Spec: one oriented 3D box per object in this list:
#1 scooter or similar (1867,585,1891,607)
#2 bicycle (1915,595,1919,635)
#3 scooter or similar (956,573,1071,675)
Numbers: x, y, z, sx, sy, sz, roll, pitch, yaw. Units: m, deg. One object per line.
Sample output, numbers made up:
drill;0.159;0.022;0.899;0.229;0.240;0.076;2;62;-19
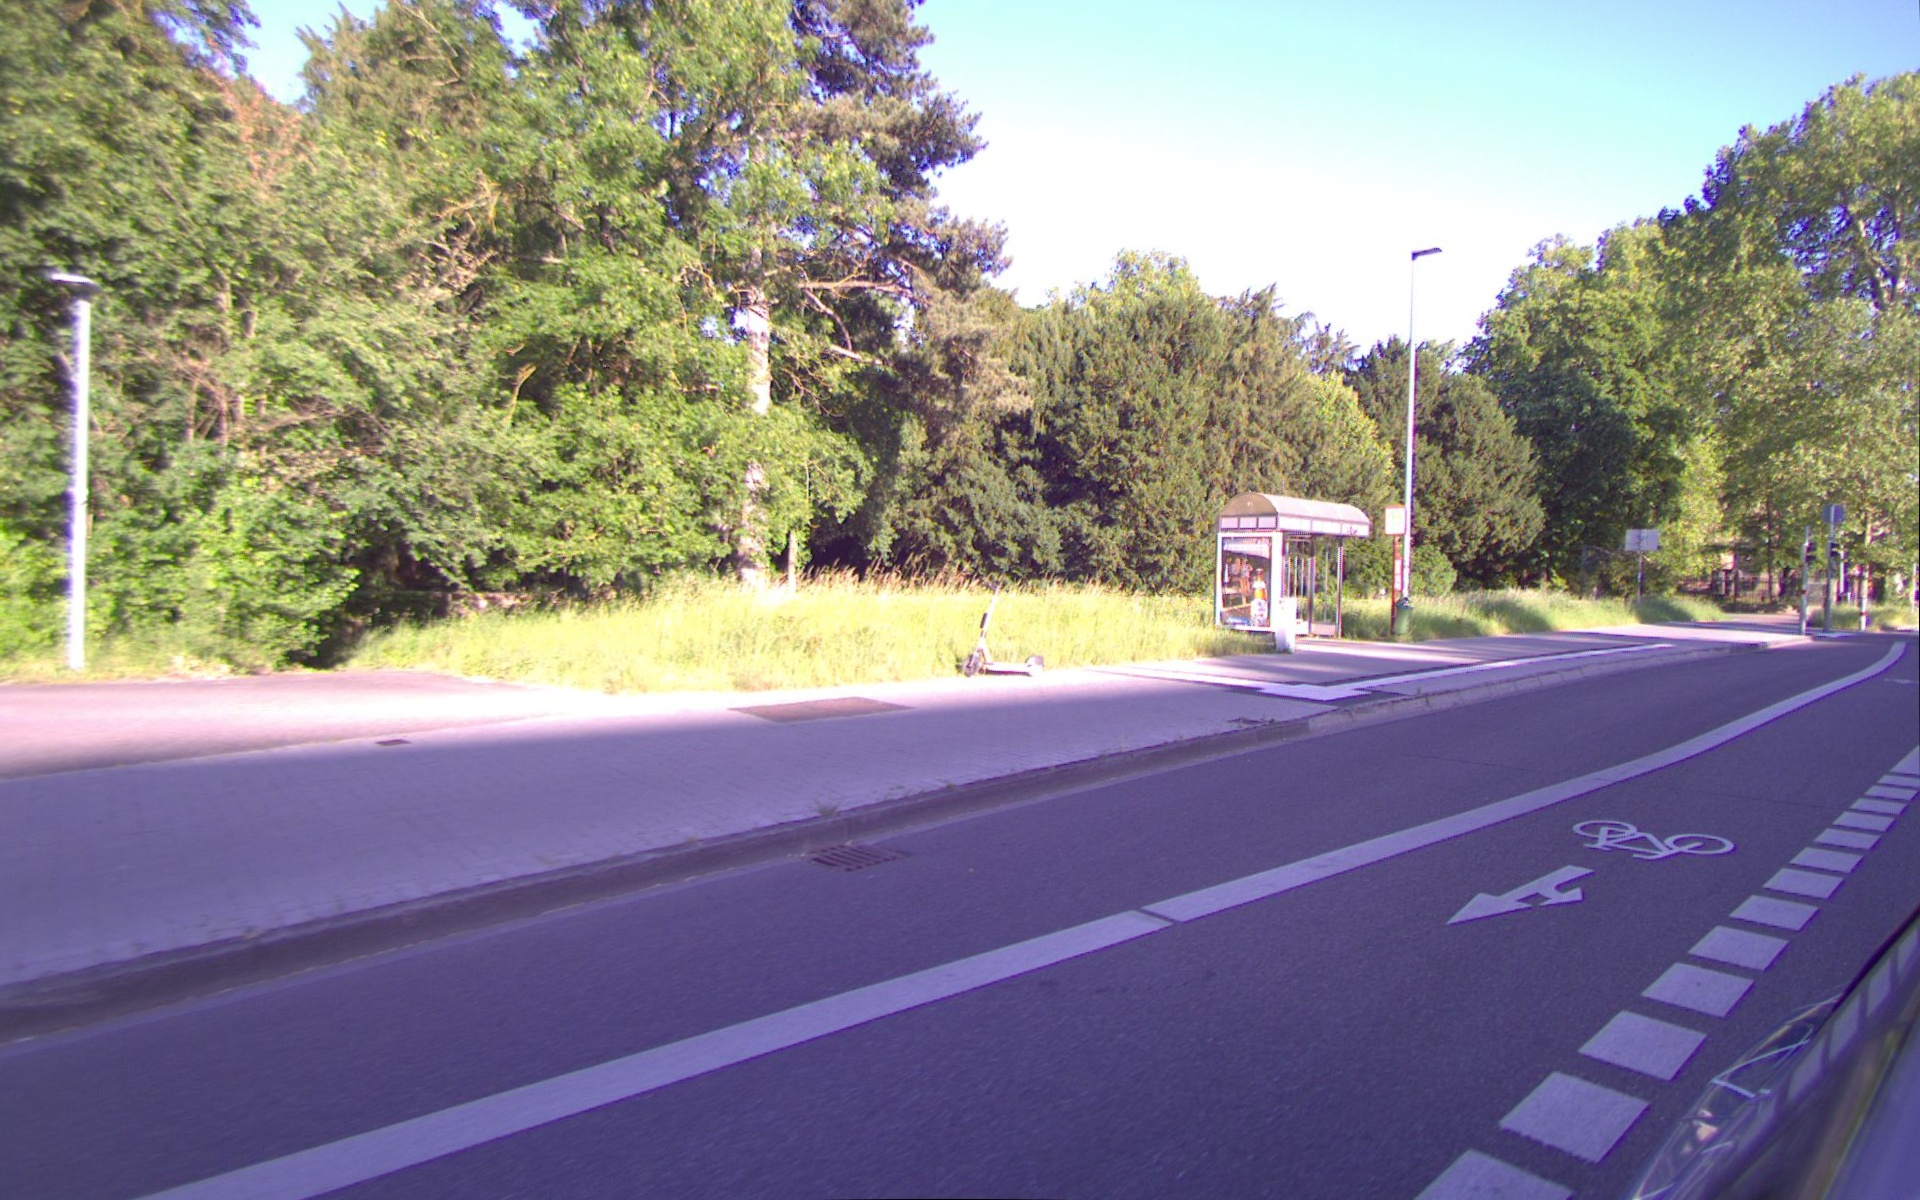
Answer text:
scooter or similar;55.574;-0.243;61.192;1.806;1.269;0.794;0;6;-44
bicycle;27.623;0.428;28.375;2.094;1.109;0.696;0;2;-33
scooter or similar;0.693;0.298;13.236;1.300;1.263;0.726;1;1;-20
